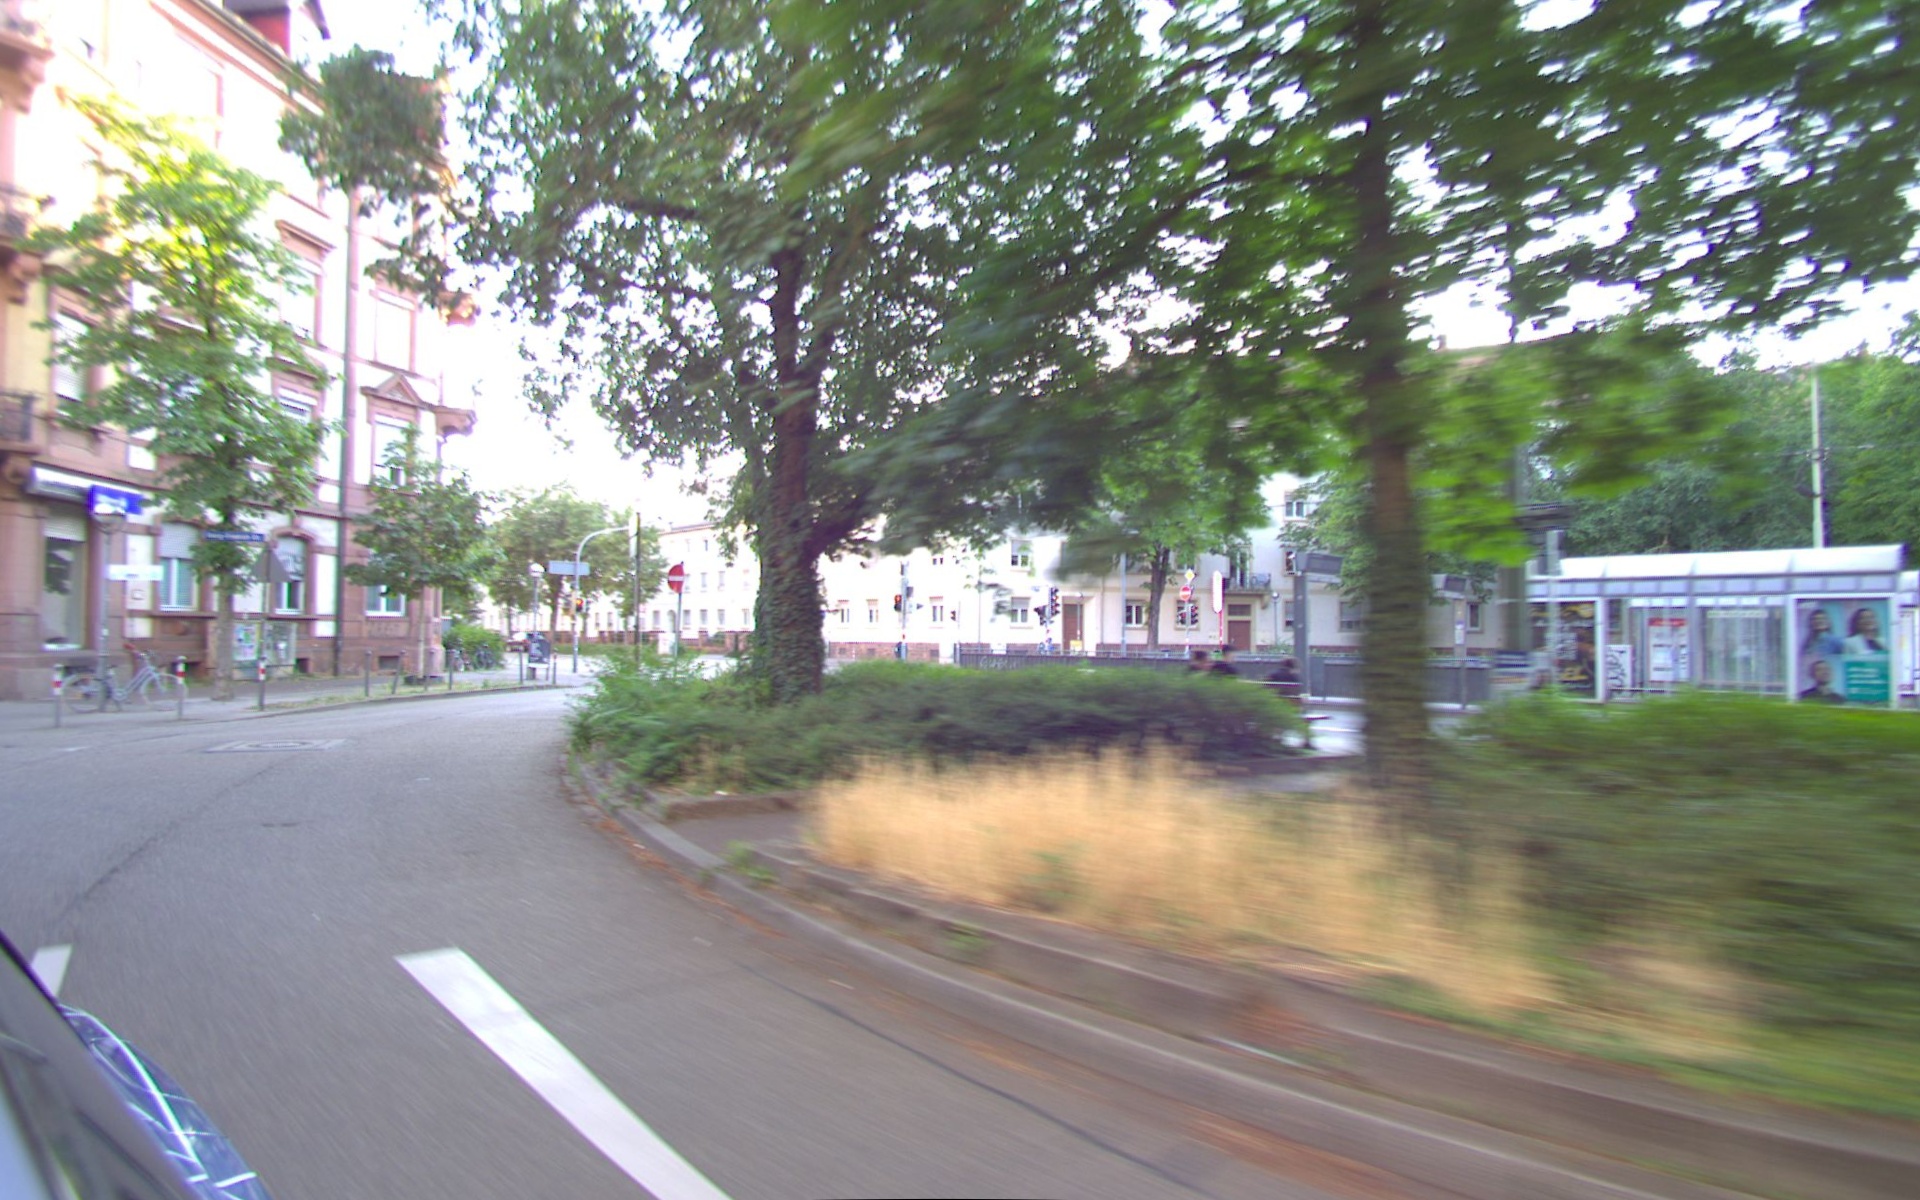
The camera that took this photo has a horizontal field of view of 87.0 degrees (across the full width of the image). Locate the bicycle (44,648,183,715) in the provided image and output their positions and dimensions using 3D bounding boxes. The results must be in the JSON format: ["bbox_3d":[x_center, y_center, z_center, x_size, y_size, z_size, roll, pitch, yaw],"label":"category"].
[{"bbox_3d":[-14.533,1.378,17.434,1.768,1.091,0.562,2,-2,-36],"label":"bicycle"}]

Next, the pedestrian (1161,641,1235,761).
[{"bbox_3d":[2.977,1.240,12.696,0.644,1.442,0.620,1,-2,-22],"label":"pedestrian"}]

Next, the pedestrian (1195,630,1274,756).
[{"bbox_3d":[3.272,1.087,12.101,0.644,1.442,0.620,1,-2,-22],"label":"pedestrian"}]

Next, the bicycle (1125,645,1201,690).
[{"bbox_3d":[5.003,1.656,25.059,0.538,1.059,1.857,2,-3,-44],"label":"bicycle"}]

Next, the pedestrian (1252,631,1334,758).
[{"bbox_3d":[3.918,1.085,11.937,0.644,1.442,0.620,1,-2,-22],"label":"pedestrian"}]

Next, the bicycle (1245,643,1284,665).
[{"bbox_3d":[16.172,2.870,53.767,1.899,1.160,0.684,0,-2,12],"label":"bicycle"}]

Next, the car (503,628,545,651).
[{"bbox_3d":[-35.766,3.233,82.990,1.882,1.864,4.002,3,-3,-44],"label":"car"}]
